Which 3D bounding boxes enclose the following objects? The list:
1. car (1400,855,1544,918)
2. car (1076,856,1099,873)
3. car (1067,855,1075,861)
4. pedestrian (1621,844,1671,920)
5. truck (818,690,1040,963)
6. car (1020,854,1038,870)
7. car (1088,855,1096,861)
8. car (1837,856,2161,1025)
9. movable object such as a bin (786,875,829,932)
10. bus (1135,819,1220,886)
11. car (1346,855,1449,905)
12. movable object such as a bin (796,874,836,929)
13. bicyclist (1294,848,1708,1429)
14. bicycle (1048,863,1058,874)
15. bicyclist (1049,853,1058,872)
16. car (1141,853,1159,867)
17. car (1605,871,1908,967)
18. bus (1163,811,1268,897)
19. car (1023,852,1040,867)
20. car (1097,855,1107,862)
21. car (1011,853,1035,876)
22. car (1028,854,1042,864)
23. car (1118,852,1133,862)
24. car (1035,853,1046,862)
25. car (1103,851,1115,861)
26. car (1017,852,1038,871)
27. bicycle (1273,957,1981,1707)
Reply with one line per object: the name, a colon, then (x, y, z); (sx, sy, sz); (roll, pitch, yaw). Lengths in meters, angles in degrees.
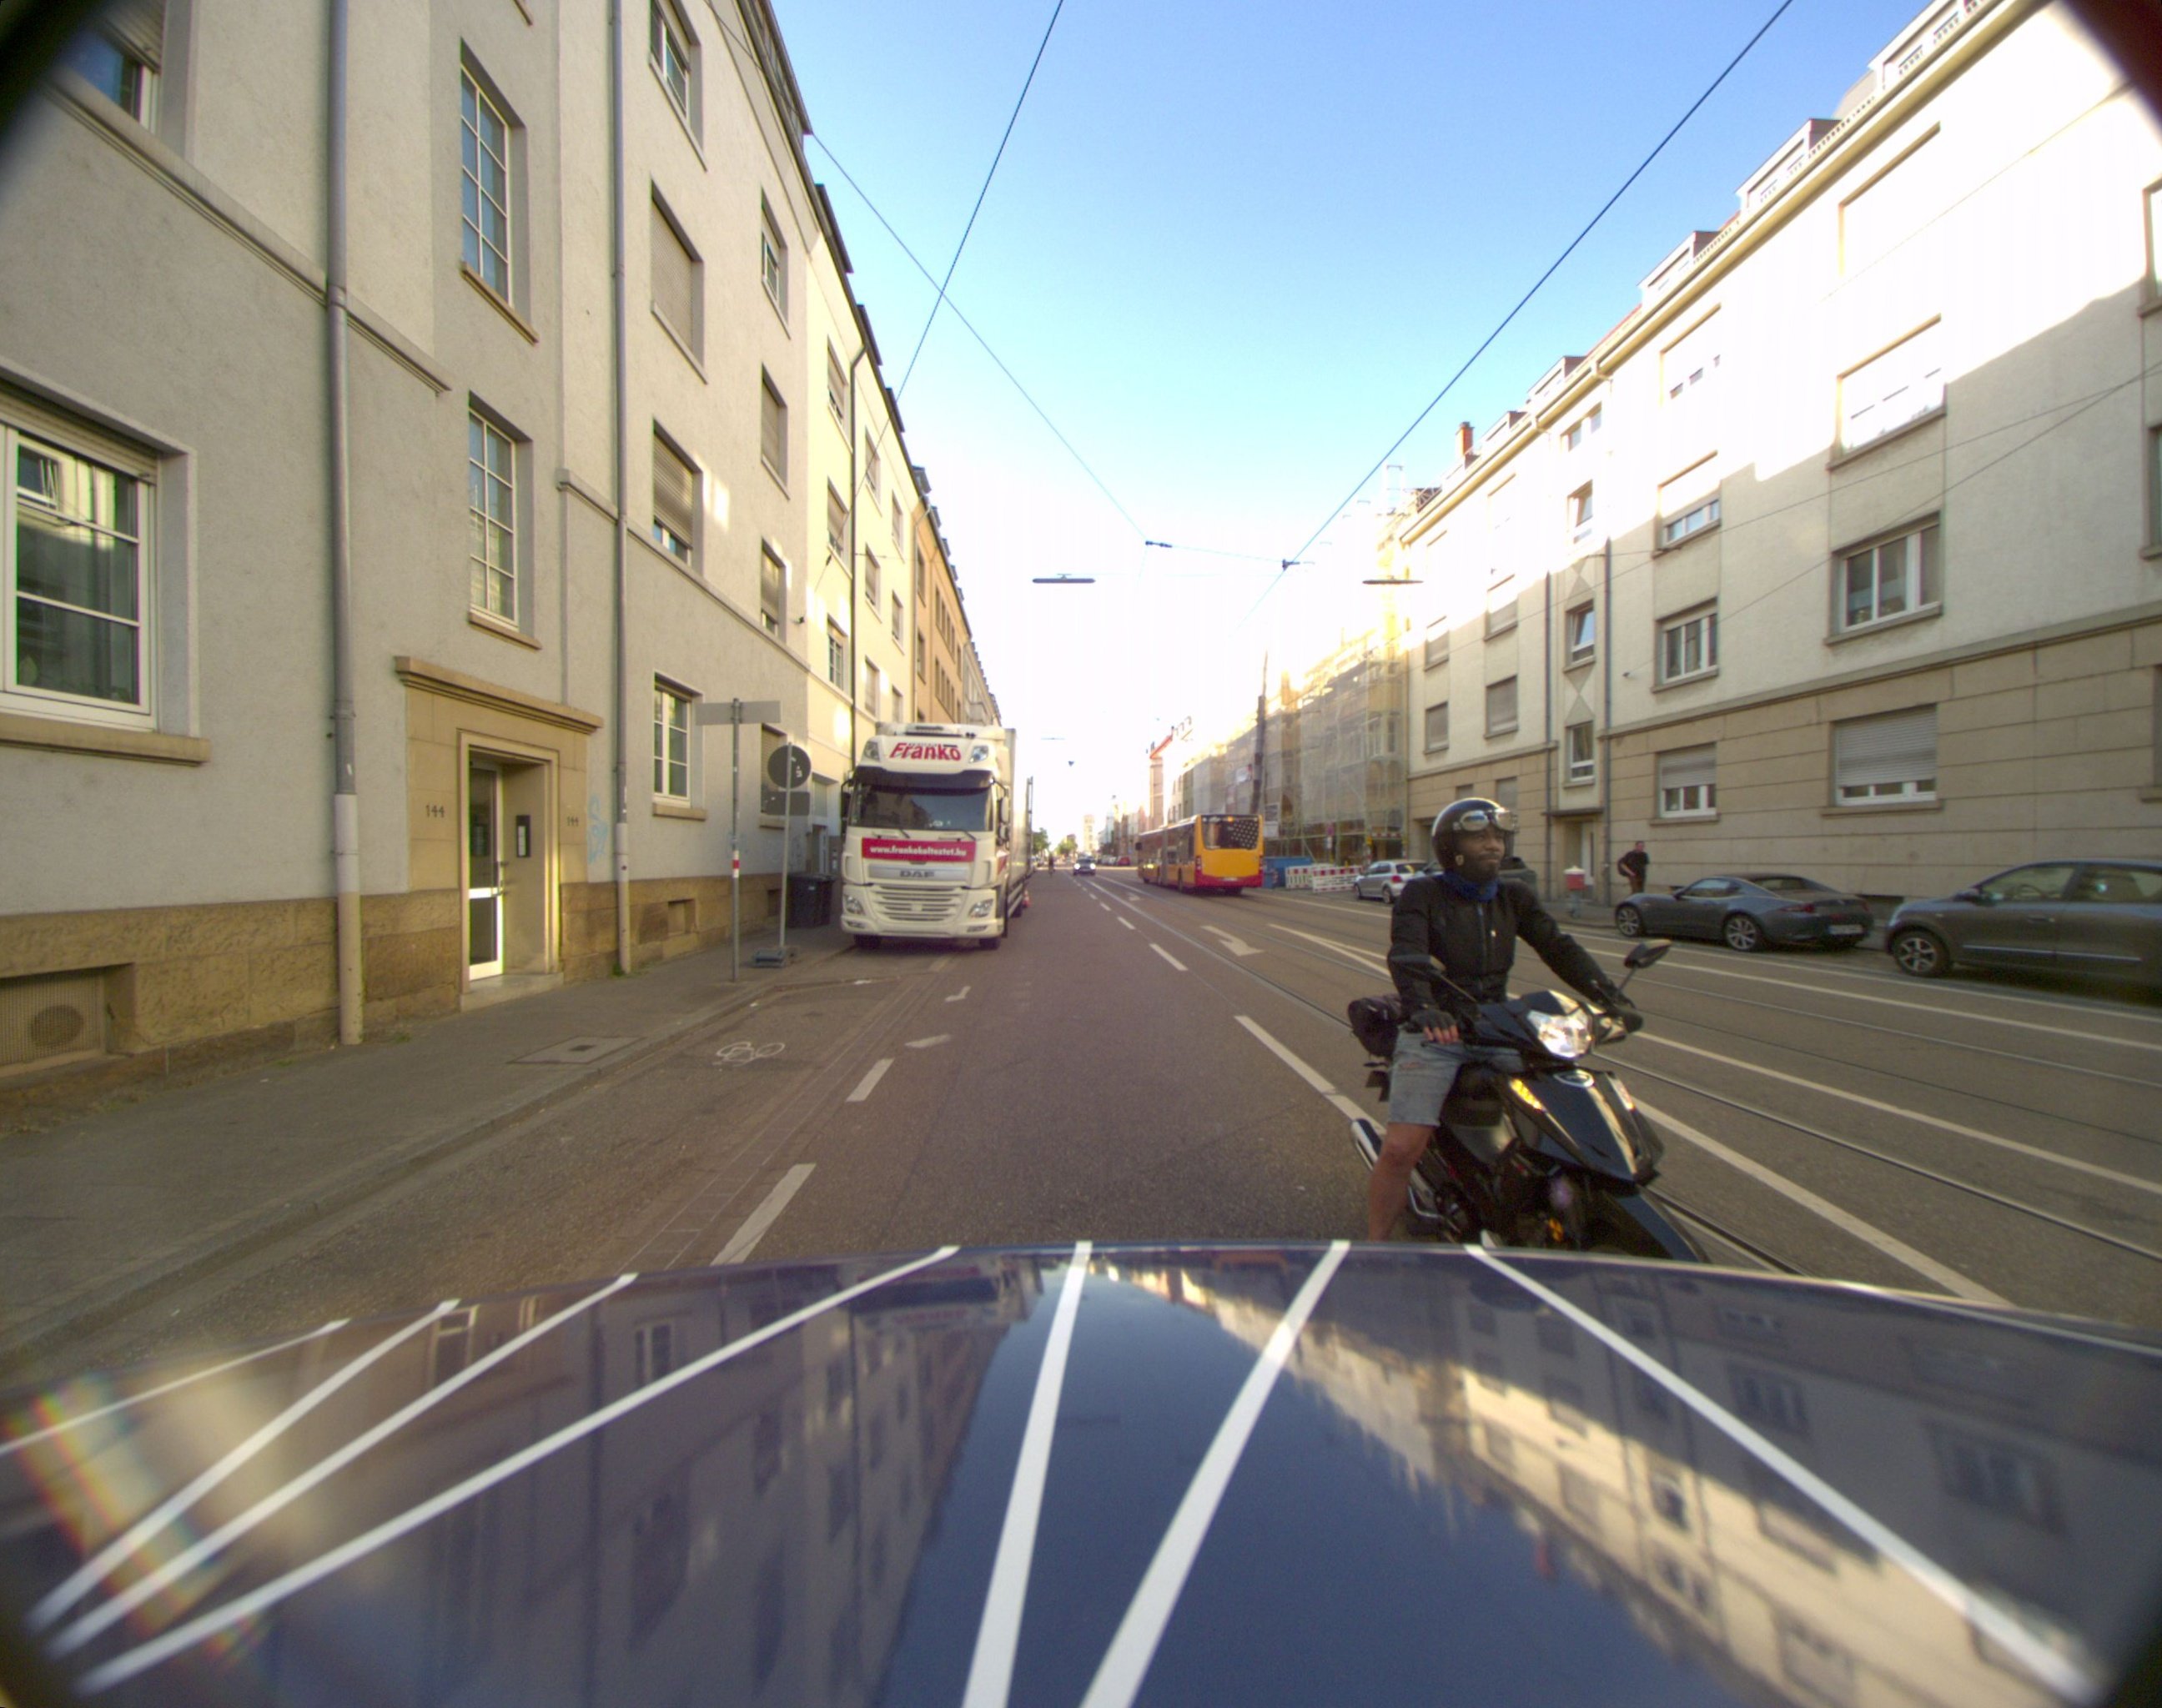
car: (10.829, 0.826, 21.447); (1.704, 1.558, 4.405); (0, 0, -2)
car: (0.565, 0.817, 63.130); (1.859, 1.369, 4.000); (0, 0, 1)
car: (-2.871, 1.031, 215.440); (1.826, 1.559, 4.199); (-2, 0, -4)
pedestrian: (12.907, 0.636, 17.368); (0.582, 1.684, 0.716); (-2, 1, -3)
truck: (-2.577, -0.404, 17.226); (2.867, 4.049, 11.776); (0, 0, -1)
car: (-5.256, 0.802, 77.271); (1.703, 1.496, 3.862); (0, 0, -1)
car: (2.838, 1.073, 191.720); (1.799, 1.494, 3.768); (-2, 0, -3)
car: (11.426, 0.864, 8.598); (1.704, 1.560, 3.998); (-2, 1, -2)
movable object such as a bin: (-5.397, 0.971, 15.021); (0.660, 1.098, 0.541); (0, 1, -5)
bus: (4.832, -0.073, 40.374); (2.730, 3.140, 10.192); (0, 0, -3)
car: (10.726, 0.832, 26.078); (1.704, 1.407, 3.998); (-3, 1, -2)
movable object such as a bin: (-5.433, 0.966, 15.612); (0.660, 1.098, 0.541); (0, 1, -5)
bicyclist: (1.244, 0.757, 2.455); (0.844, 1.545, 0.849); (0, 1, -3)
bicycle: (-2.168, 1.149, 59.398); (0.744, 0.850, 1.885); (0, 0, -1)
bicyclist: (-2.155, 0.649, 59.509); (0.744, 1.481, 0.816); (0, 1, -1)
car: (7.951, 0.726, 88.134); (1.798, 1.601, 3.769); (0, 0, 1)
car: (11.218, 0.997, 13.021); (1.704, 1.209, 3.784); (-2, 1, -3)
bus: (5.318, -0.018, 31.512); (2.745, 3.143, 7.576); (0, 0, -2)
car: (-5.321, 0.616, 82.389); (1.703, 1.581, 3.960); (0, 0, -2)
car: (4.547, 0.940, 167.652); (1.799, 1.494, 3.768); (-2, 0, -3)
car: (-4.518, 0.793, 59.428); (1.713, 1.683, 4.588); (1, 0, -3)
car: (-6.809, 0.696, 112.972); (1.999, 1.412, 3.726); (1, 0, -2)
car: (6.970, 0.393, 118.750); (1.799, 1.494, 3.768); (-2, 0, -3)
car: (-7.621, 0.631, 142.949); (1.999, 1.630, 3.999); (1, 0, -2)
car: (5.536, 0.427, 149.161); (1.999, 2.002, 3.999); (1, 0, -3)
car: (-5.021, 0.678, 71.608); (1.703, 1.688, 4.187); (1, 0, 0)
bicycle: (1.272, 1.046, 2.401); (0.740, 1.170, 1.973); (0, 0, -3)
